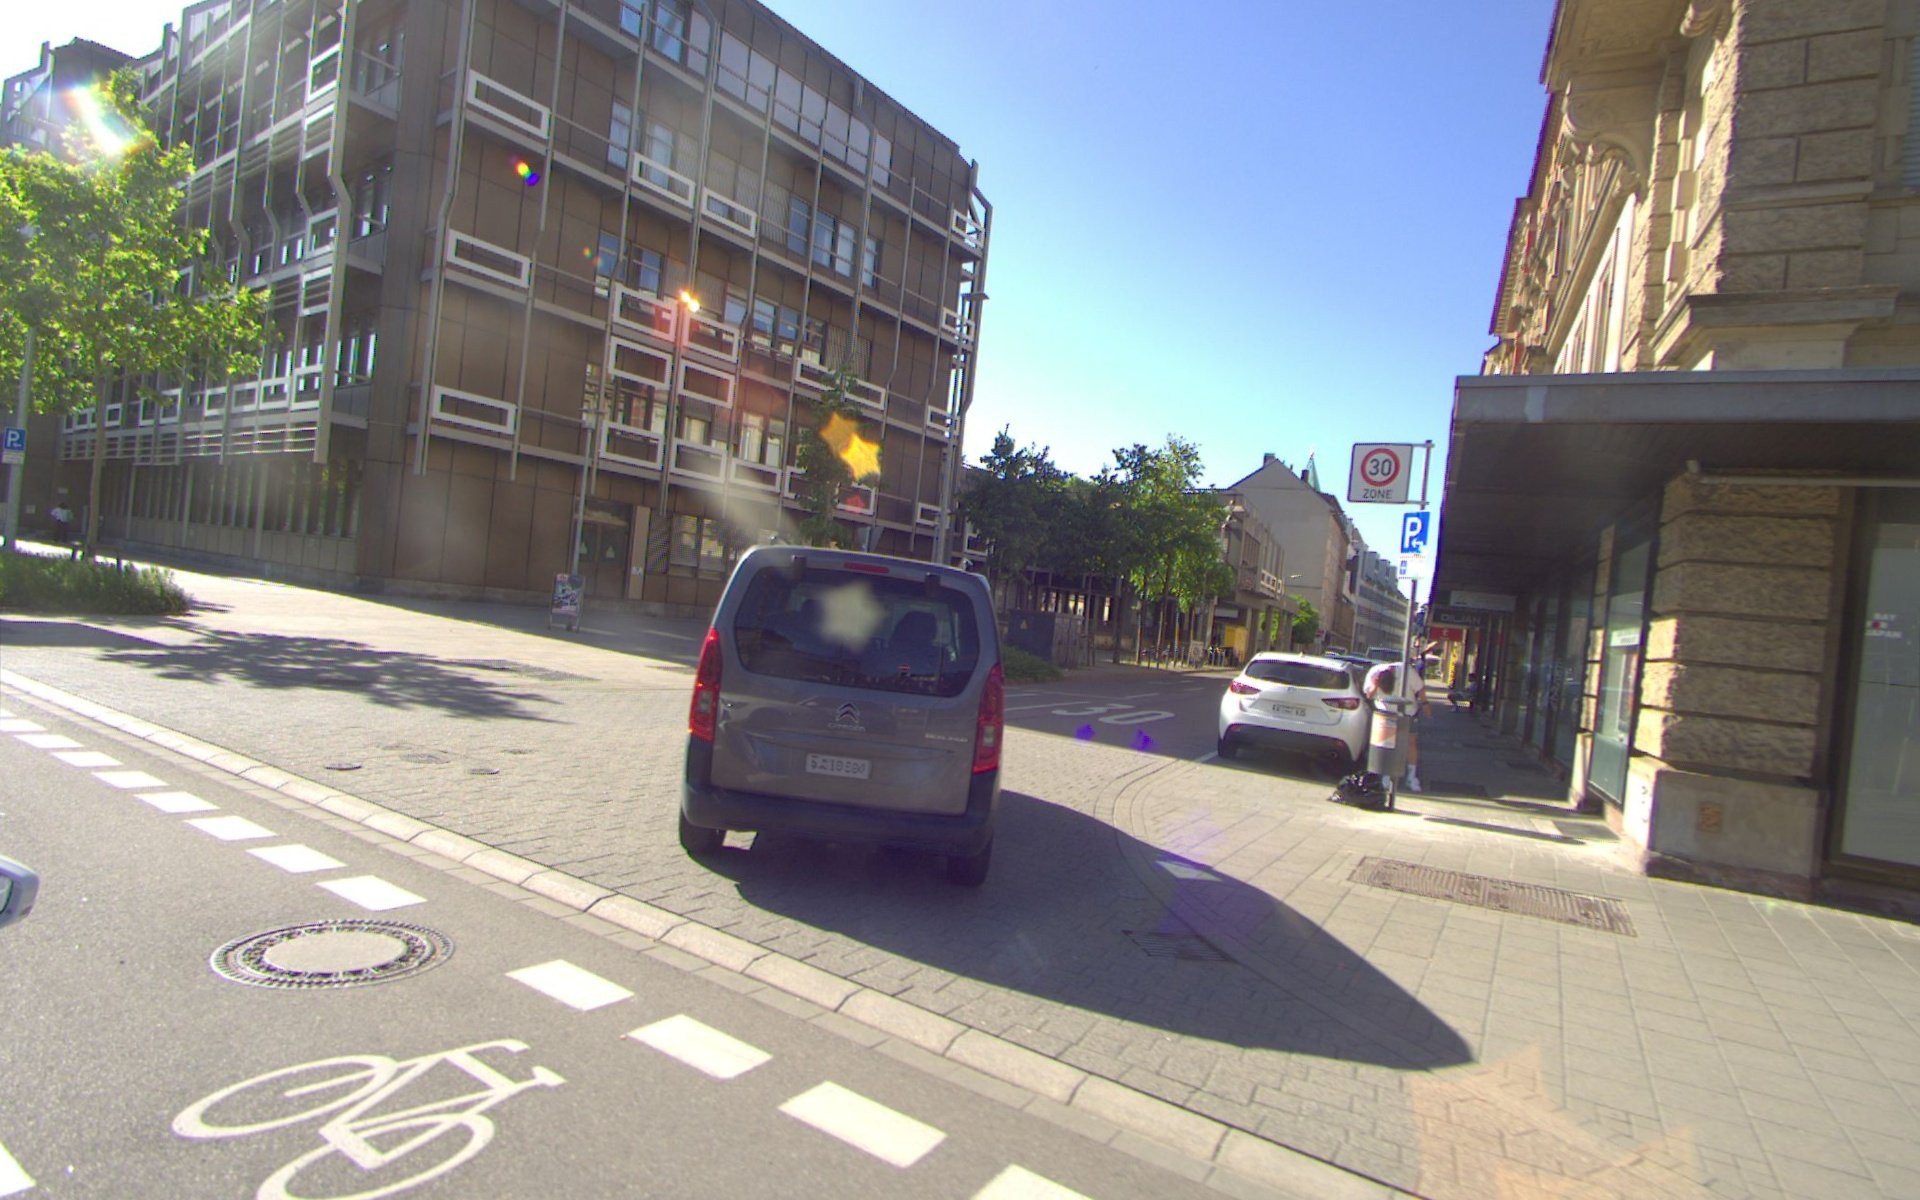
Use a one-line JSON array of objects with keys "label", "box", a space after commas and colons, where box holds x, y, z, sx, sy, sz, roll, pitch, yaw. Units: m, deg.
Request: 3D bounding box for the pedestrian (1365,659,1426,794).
[{"label": "pedestrian", "box": [5.043, 1.439, 11.644, 0.533, 1.468, 0.682, 5, 0, 25]}]

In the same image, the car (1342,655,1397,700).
[{"label": "car", "box": [15.133, 2.839, 37.294, 1.681, 1.370, 3.823, 6, -1, 22]}]

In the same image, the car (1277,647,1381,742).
[{"label": "car", "box": [7.057, 1.720, 19.159, 1.529, 1.411, 4.191, 7, -1, 22]}]

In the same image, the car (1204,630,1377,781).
[{"label": "car", "box": [4.716, 1.357, 14.003, 1.819, 1.562, 4.407, 6, -1, 22]}]

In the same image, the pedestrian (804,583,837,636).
[{"label": "pedestrian", "box": [-5.077, 0.353, 36.597, 0.762, 1.805, 0.639, 6, 1, 31]}]

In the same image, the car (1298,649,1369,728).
[{"label": "car", "box": [8.444, 1.955, 22.709, 1.281, 1.513, 2.791, 6, -1, 22]}]

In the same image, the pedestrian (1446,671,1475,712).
[{"label": "pedestrian", "box": [15.274, 2.789, 30.704, 0.668, 1.184, 0.647, 6, 0, 26]}]

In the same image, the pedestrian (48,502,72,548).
[{"label": "pedestrian", "box": [-34.001, -2.834, 38.001, 0.664, 1.644, 0.510, 6, 3, 38]}]

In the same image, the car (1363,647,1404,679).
[{"label": "car", "box": [21.392, 3.191, 50.892, 1.681, 1.370, 3.823, 6, -1, 22]}]

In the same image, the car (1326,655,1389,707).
[{"label": "car", "box": [12.645, 2.534, 32.037, 1.620, 1.370, 4.440, 6, -1, 22]}]

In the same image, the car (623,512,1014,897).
[{"label": "car", "box": [-0.902, 0.562, 7.135, 1.785, 1.774, 4.164, 6, -1, -6]}]

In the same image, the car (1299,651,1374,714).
[{"label": "car", "box": [9.997, 2.144, 26.689, 1.620, 1.370, 3.823, 6, -1, 22]}]
